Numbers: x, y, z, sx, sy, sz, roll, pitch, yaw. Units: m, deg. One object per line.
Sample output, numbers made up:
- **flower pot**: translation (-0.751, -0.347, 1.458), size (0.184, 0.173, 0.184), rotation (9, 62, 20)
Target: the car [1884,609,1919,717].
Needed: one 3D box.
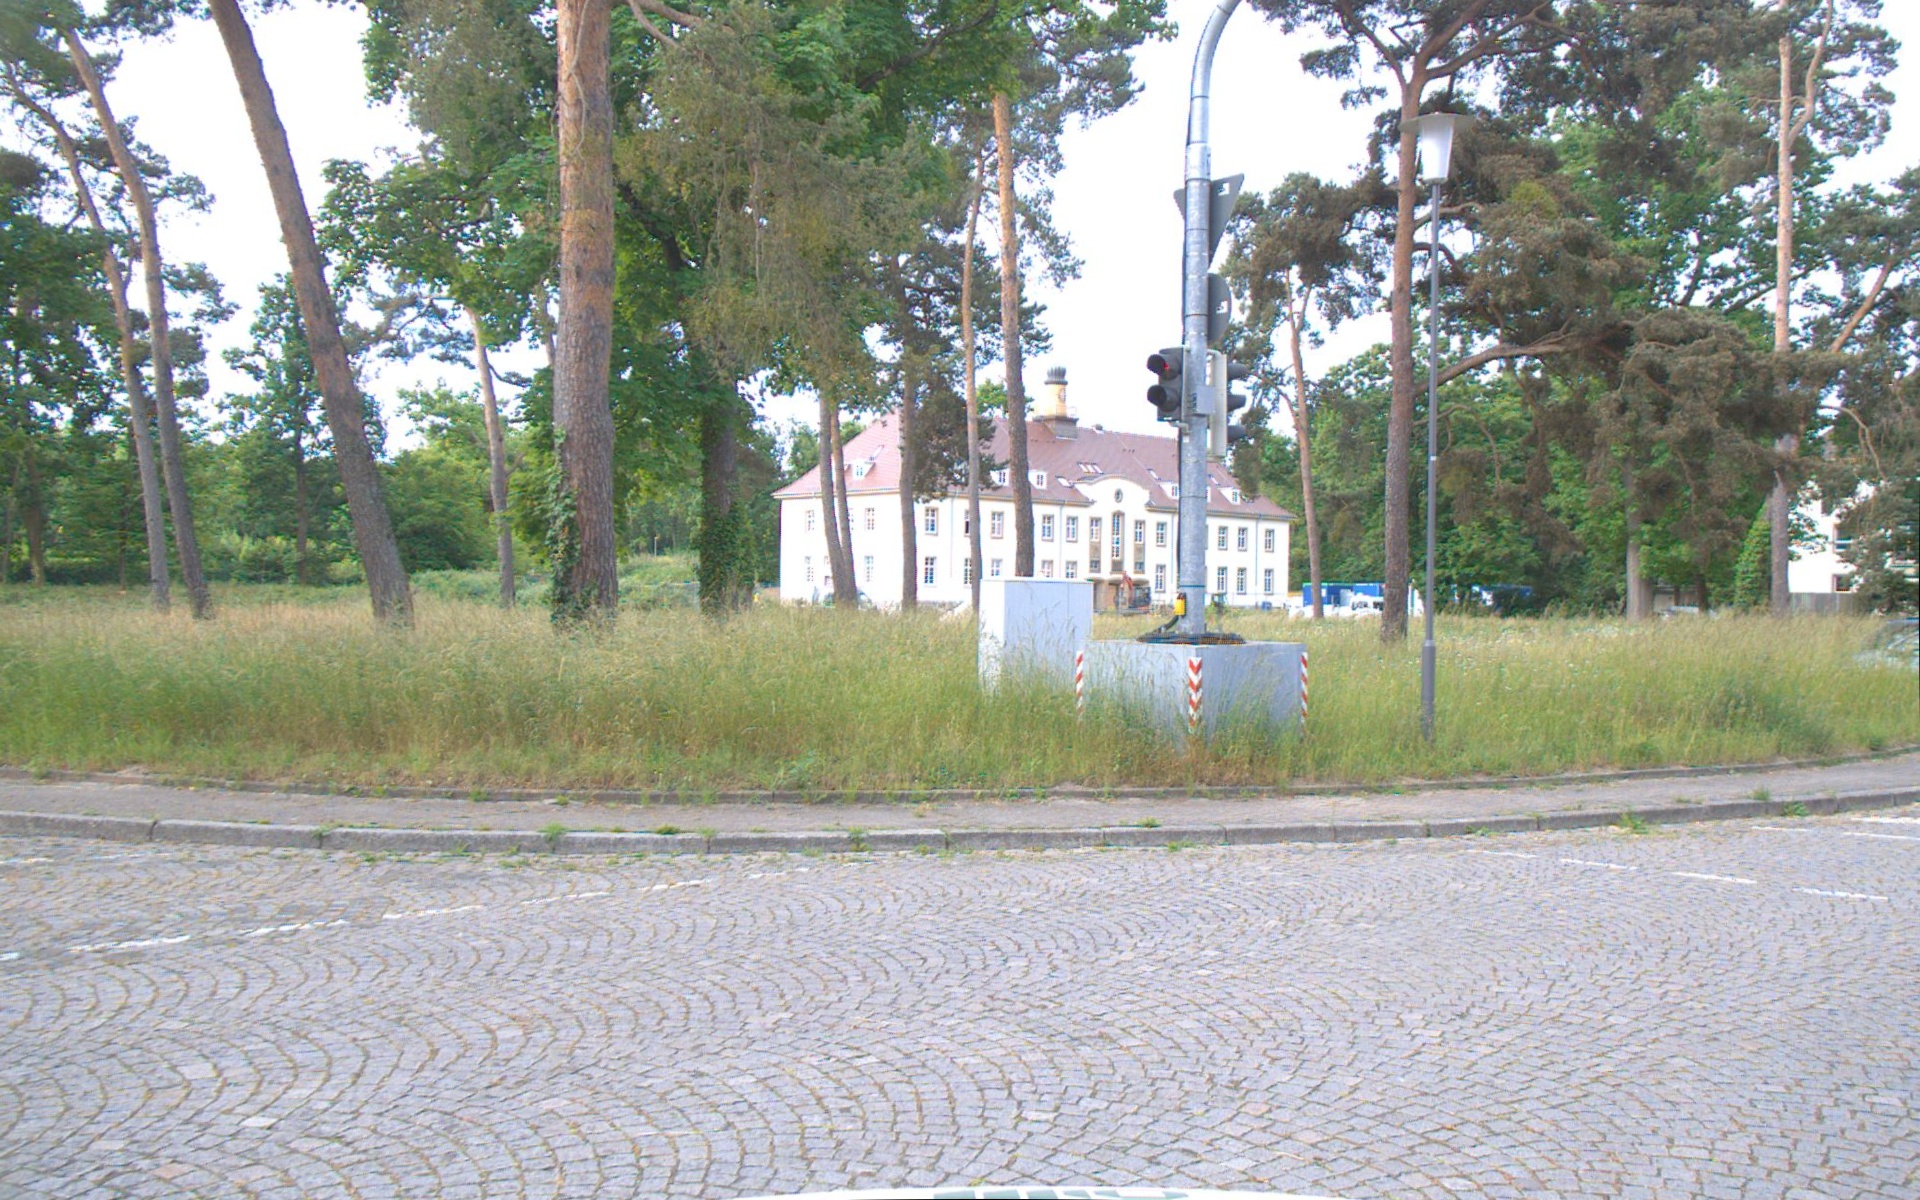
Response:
- **car**: translation (15.779, 0.941, 23.616), size (4.193, 1.575, 1.922), rotation (1, 0, 45)

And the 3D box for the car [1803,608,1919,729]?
- **car**: translation (13.625, 0.922, 21.967), size (1.890, 1.570, 3.937), rotation (0, 0, -43)

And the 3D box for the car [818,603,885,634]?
- **car**: translation (-8.053, 1.352, 122.644), size (4.946, 2.238, 1.989), rotation (1, 0, 41)

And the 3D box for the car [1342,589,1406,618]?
- **car**: translation (30.832, 0.261, 123.056), size (5.180, 2.049, 1.971), rotation (1, -1, -40)
